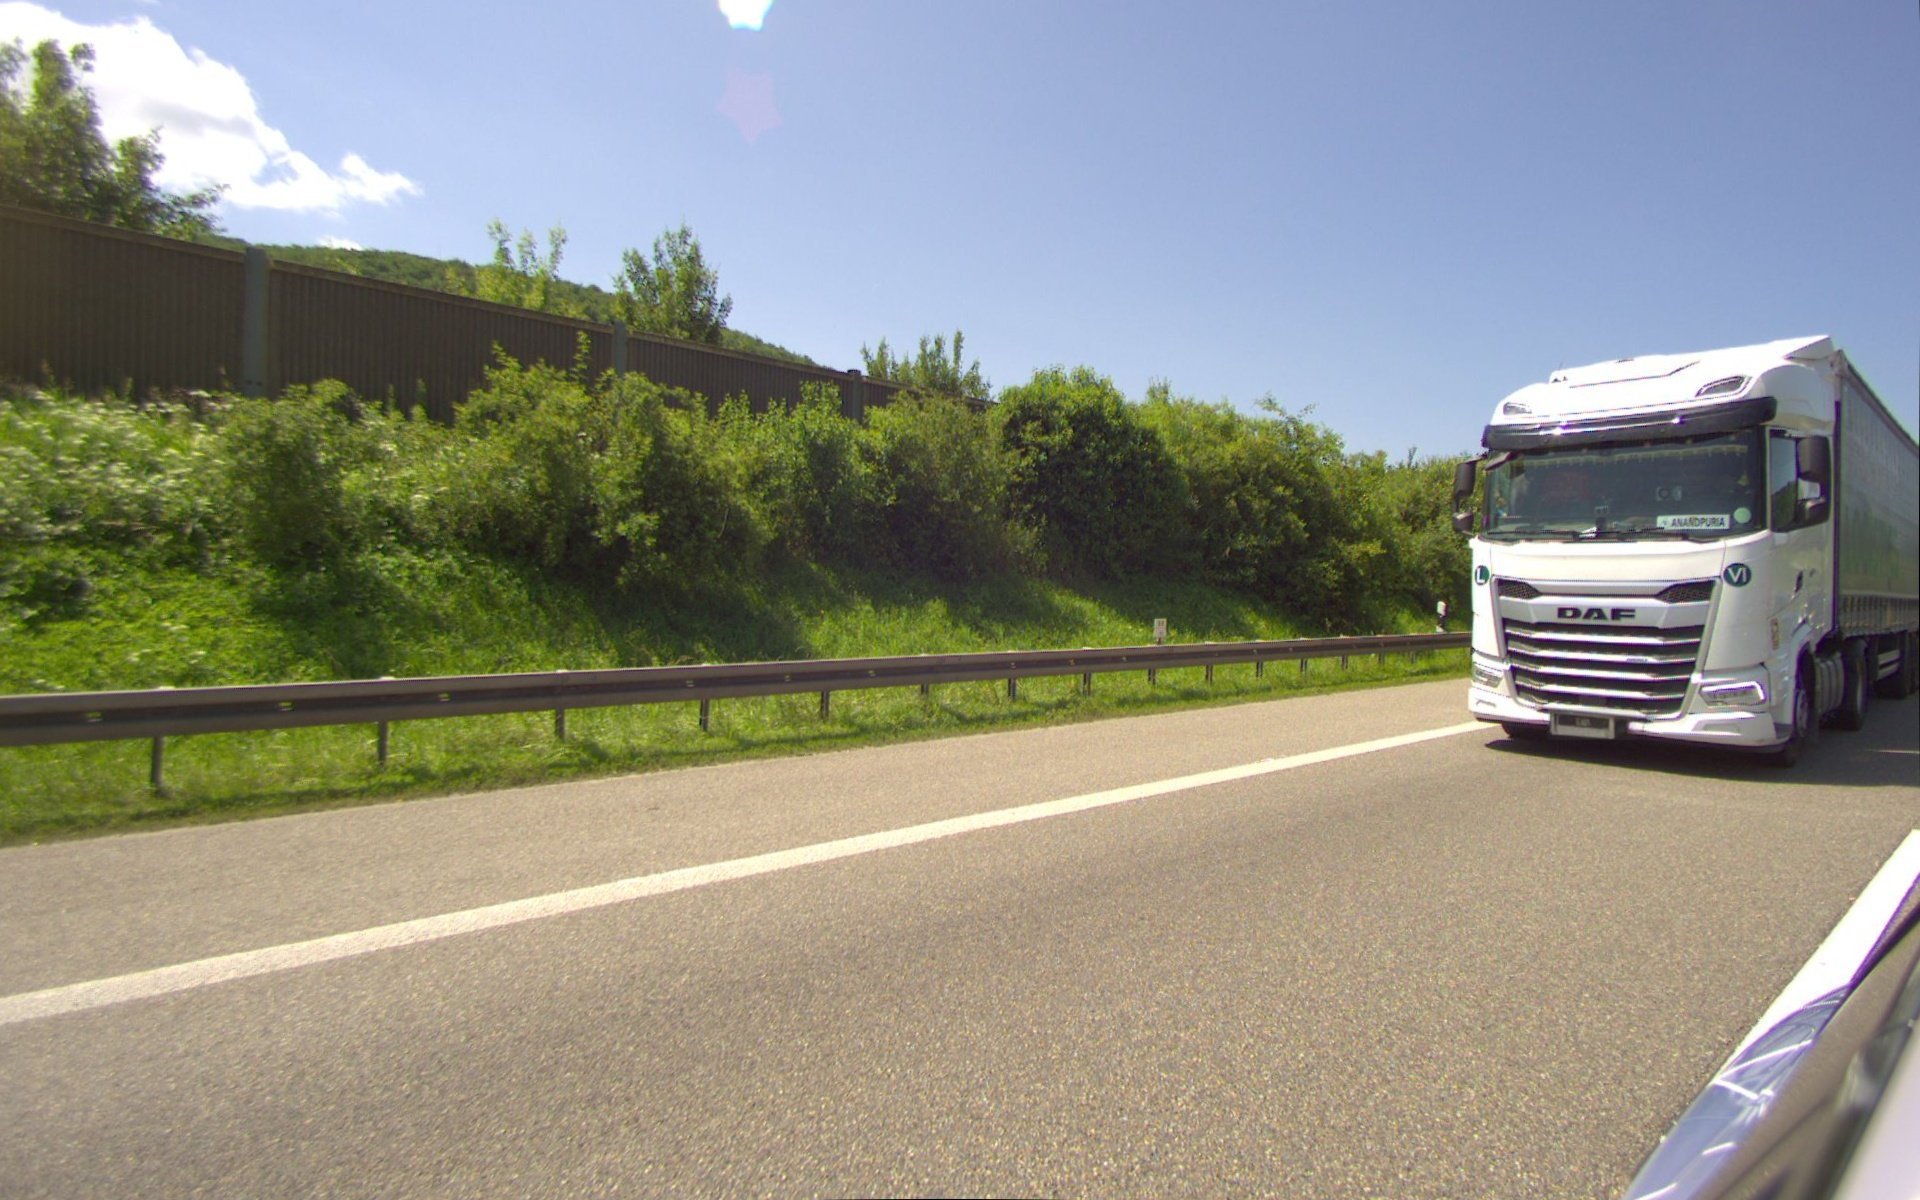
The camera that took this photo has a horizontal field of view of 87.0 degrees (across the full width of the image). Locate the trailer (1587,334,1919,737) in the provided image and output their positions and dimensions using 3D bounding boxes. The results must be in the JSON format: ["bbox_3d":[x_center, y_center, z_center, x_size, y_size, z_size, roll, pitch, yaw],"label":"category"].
[{"bbox_3d":[13.224,-0.699,15.580,13.422,4.027,2.481,0,1,-42],"label":"trailer"}]

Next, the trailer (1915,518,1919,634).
[{"bbox_3d":[39.969,-0.937,39.971,13.401,4.160,2.540,-1,1,-43],"label":"trailer"}]

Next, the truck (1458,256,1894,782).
[{"bbox_3d":[7.893,-0.658,10.793,6.272,4.027,2.481,0,1,-42],"label":"truck"}]

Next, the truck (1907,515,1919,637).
[{"bbox_3d":[35.543,-0.854,35.867,5.978,4.140,2.527,-1,0,-43],"label":"truck"}]
